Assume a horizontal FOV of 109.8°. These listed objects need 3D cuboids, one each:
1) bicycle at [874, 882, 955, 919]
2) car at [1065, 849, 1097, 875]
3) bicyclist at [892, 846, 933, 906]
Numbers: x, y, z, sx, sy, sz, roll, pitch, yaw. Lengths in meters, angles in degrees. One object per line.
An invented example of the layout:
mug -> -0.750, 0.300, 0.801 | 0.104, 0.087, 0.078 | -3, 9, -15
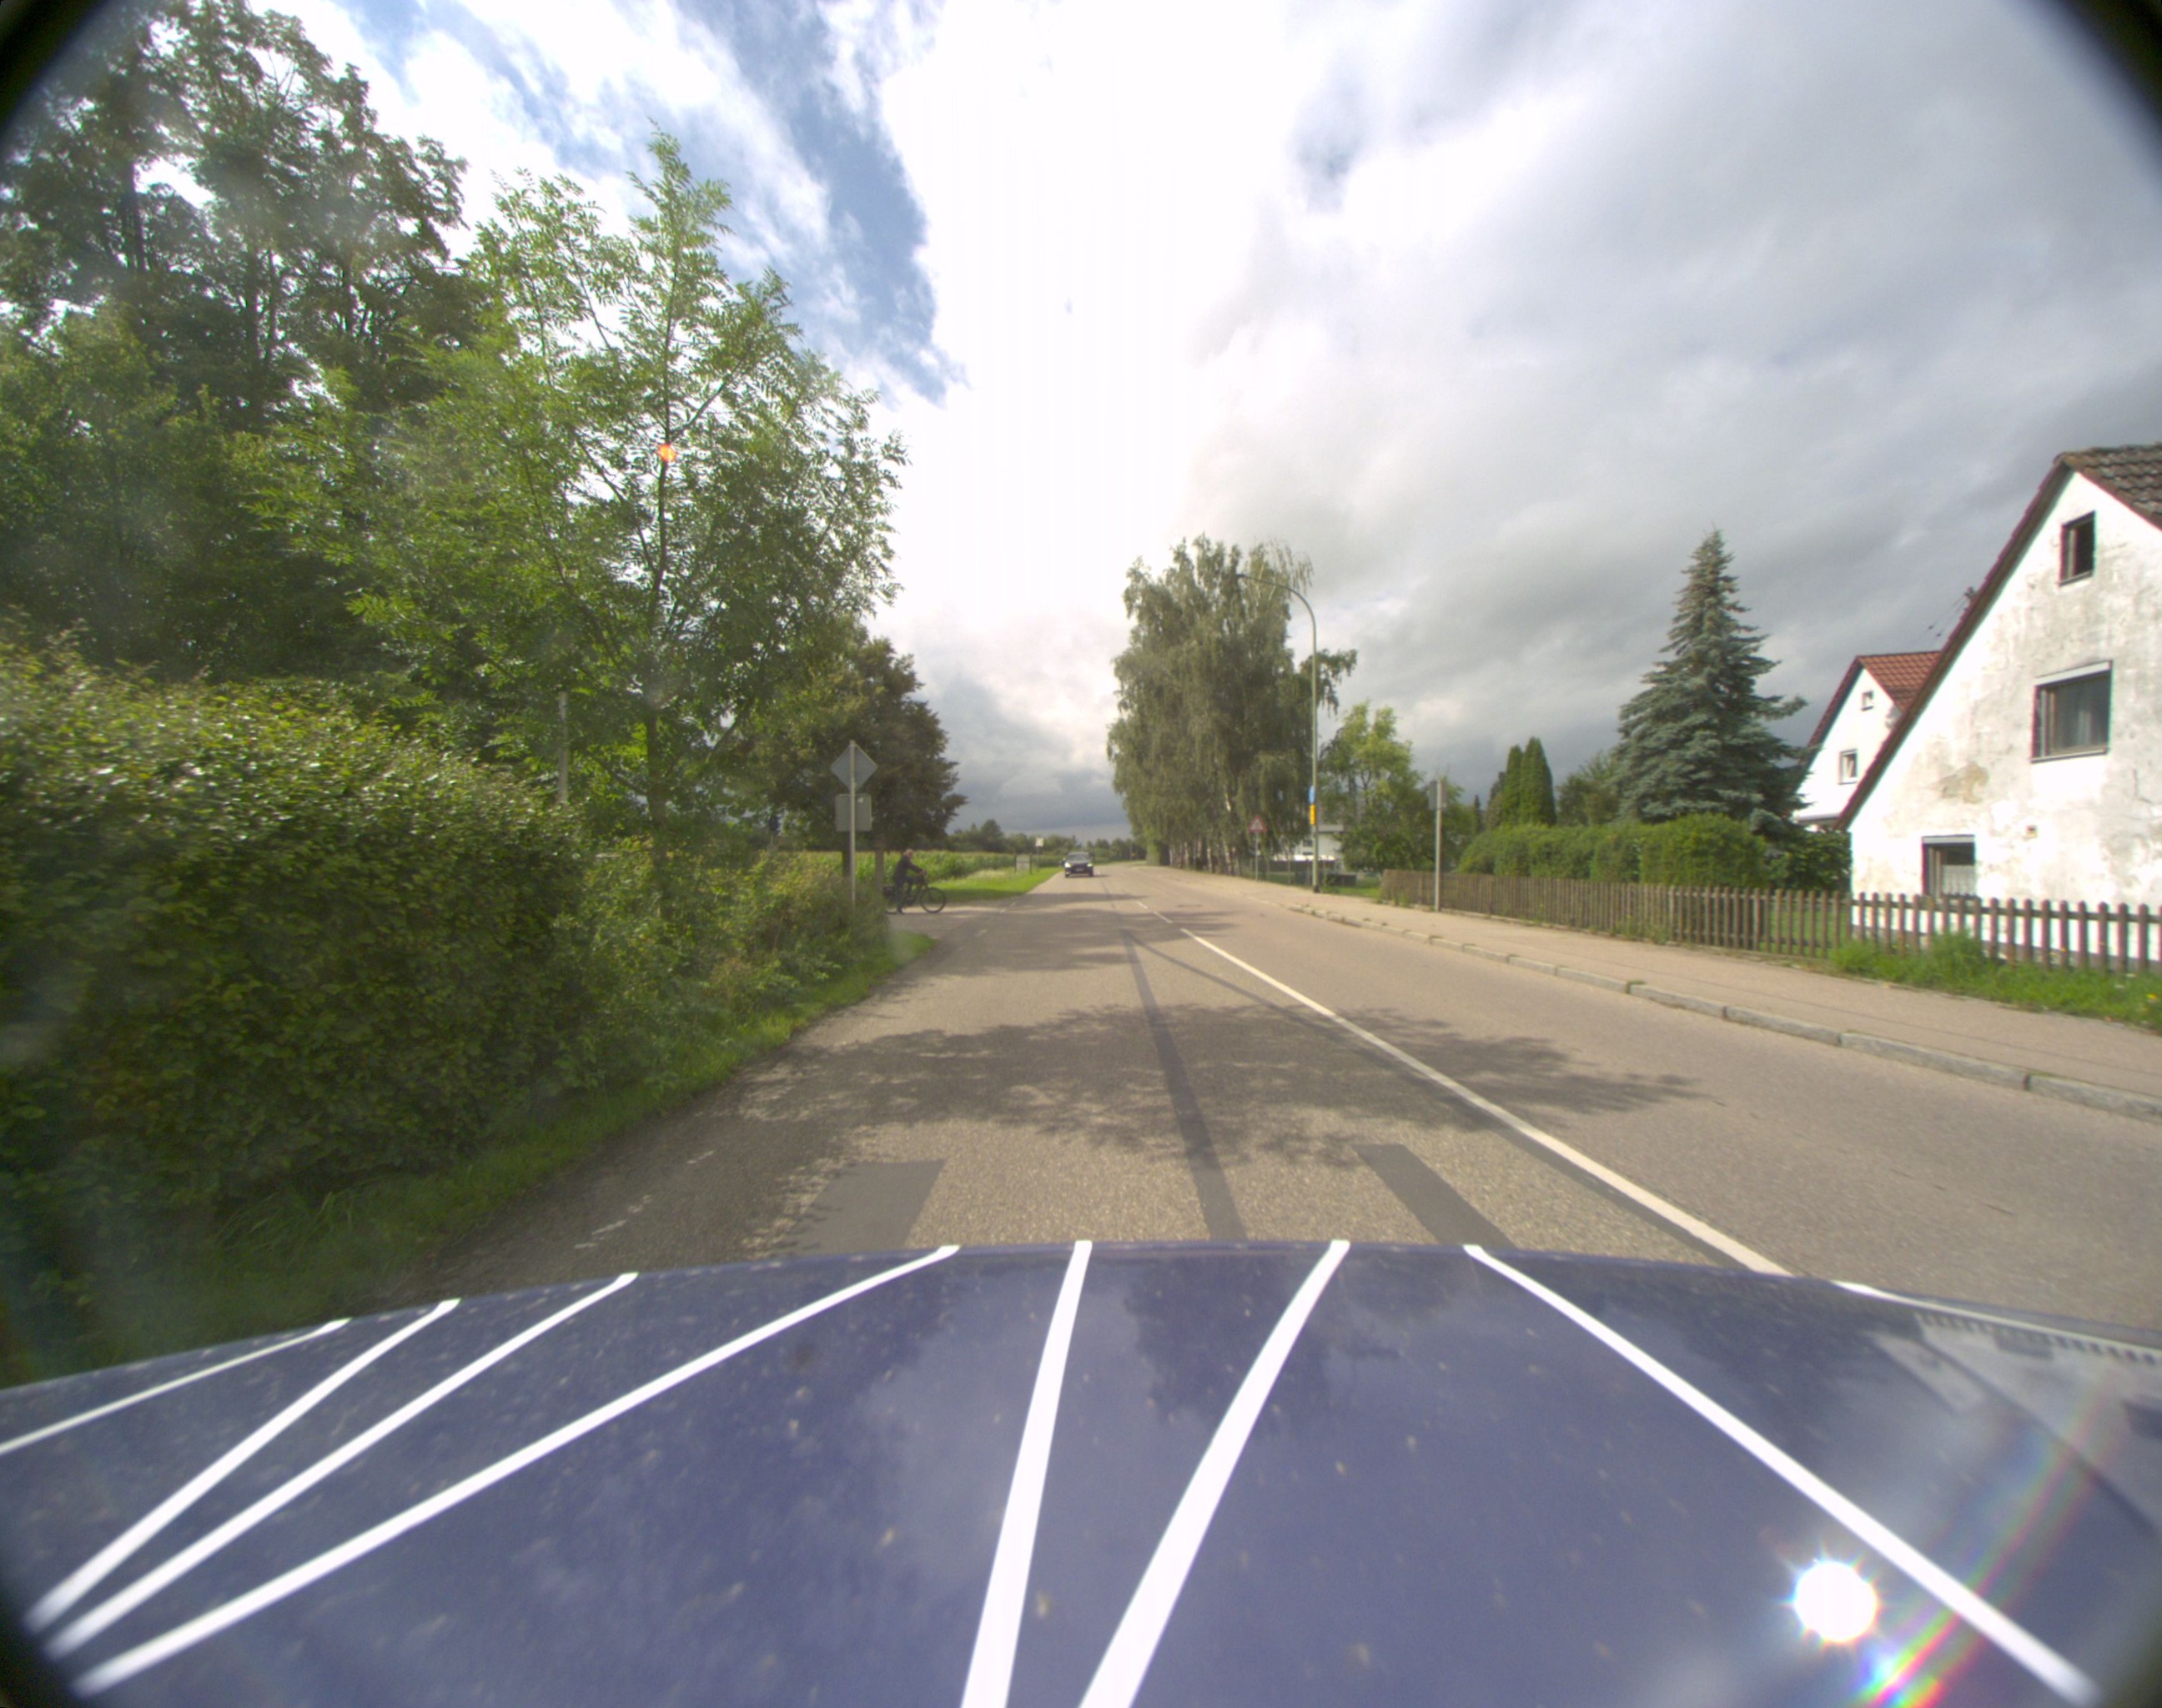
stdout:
bicycle -> -4.578, 1.262, 20.897 | 2.123, 0.859, 1.053 | -2, 0, -14
car -> 0.008, 0.508, 50.663 | 1.999, 1.594, 4.000 | -1, 0, -1
bicyclist -> -4.643, 0.584, 20.875 | 1.021, 1.576, 1.053 | -2, 1, -14
